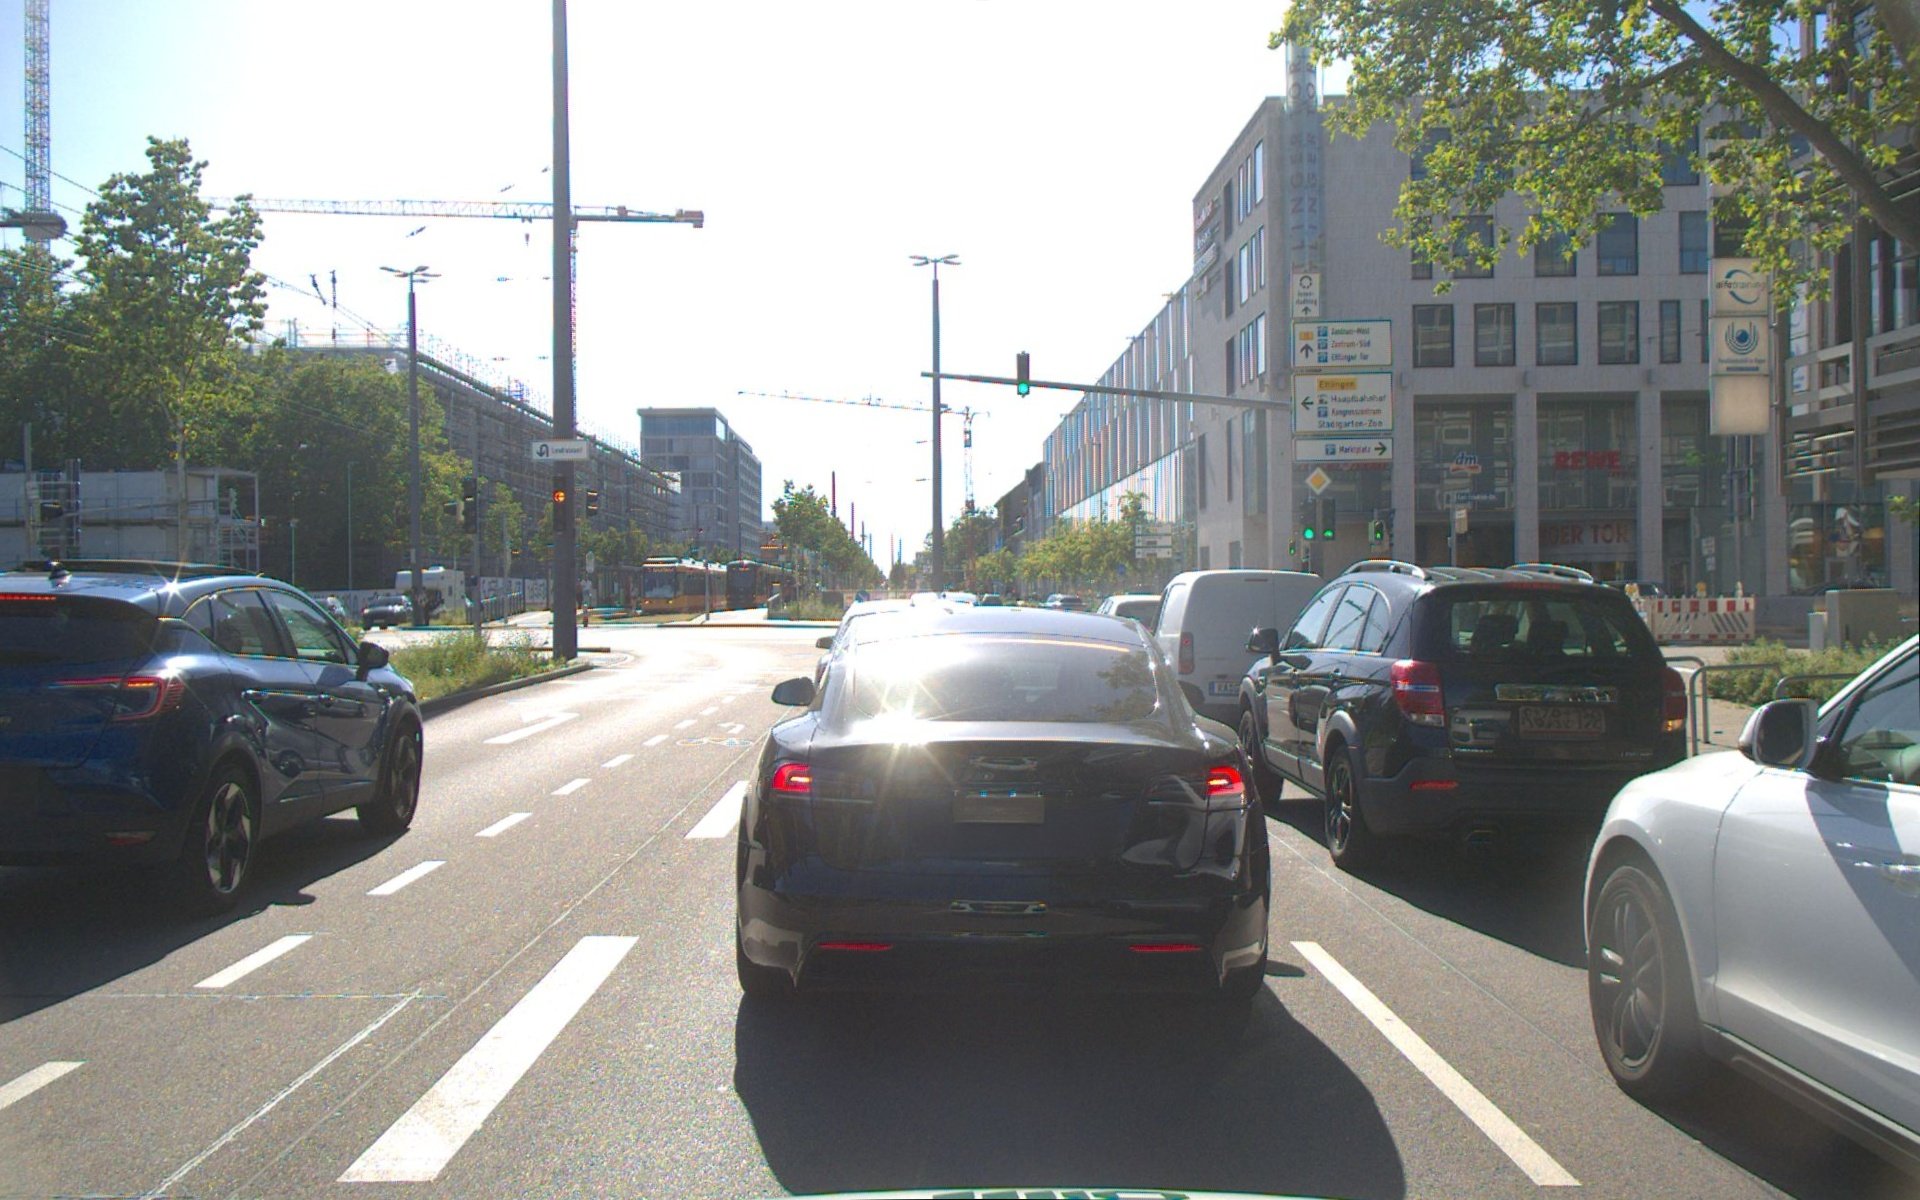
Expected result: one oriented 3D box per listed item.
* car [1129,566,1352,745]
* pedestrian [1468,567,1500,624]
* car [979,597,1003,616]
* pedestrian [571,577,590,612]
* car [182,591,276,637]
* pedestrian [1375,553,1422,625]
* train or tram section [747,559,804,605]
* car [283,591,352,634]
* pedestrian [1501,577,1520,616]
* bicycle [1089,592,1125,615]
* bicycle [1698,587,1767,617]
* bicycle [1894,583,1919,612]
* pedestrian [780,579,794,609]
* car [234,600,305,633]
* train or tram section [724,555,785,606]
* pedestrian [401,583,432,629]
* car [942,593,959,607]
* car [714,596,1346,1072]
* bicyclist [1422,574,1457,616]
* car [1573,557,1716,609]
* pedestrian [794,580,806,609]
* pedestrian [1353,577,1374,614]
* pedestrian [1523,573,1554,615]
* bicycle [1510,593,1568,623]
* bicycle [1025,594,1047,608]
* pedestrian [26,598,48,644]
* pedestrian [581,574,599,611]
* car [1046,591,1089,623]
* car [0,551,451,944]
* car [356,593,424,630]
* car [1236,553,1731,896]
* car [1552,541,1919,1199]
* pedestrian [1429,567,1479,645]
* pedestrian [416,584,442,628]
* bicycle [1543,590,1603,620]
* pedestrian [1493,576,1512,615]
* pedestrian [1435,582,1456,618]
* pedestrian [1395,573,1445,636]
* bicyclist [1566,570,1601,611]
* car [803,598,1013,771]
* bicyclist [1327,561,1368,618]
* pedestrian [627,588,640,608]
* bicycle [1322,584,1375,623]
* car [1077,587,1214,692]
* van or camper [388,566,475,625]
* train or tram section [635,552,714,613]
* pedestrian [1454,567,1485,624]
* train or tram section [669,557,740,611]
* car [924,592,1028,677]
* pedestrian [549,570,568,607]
[{"bbox_3d":[2.984,0.523,18.400,1.748,1.764,4.163,0,1,0],"label":"car"},{"bbox_3d":[15.364,-0.125,48.499,0.648,1.640,0.526,-3,0,-10],"label":"pedestrian"},{"bbox_3d":[2.607,0.540,140.086,1.895,1.569,3.999,0,1,-1],"label":"car"},{"bbox_3d":[-20.192,-0.291,88.033,0.784,1.855,0.975,-1,0,-4],"label":"pedestrian"},{"bbox_3d":[-28.661,0.535,64.965,1.788,1.719,4.092,-1,1,1],"label":"car"},{"bbox_3d":[12.659,-0.332,47.753,0.930,2.049,1.076,0,0,-12],"label":"pedestrian"},{"bbox_3d":[-14.935,-1.415,135.571,2.812,3.337,22.136,1,0,-2],"label":"train or tram section"},{"bbox_3d":[-31.357,0.590,80.823,1.832,1.989,3.999,-1,1,-1],"label":"car"},{"bbox_3d":[25.526,-0.169,76.720,0.551,1.793,0.641,-2,1,-38],"label":"pedestrian"},{"bbox_3d":[8.639,0.203,97.141,2.041,1.226,0.951,-2,0,5],"label":"bicycle"},{"bbox_3d":[29.612,0.055,63.486,1.044,1.113,3.498,-1,0,1],"label":"bicycle"},{"bbox_3d":[37.144,-0.098,63.141,1.044,1.113,3.498,-1,0,1],"label":"bicycle"},{"bbox_3d":[-9.639,-0.318,92.170,0.726,1.657,0.861,0,0,-1],"label":"pedestrian"},{"bbox_3d":[-36.098,0.825,86.603,1.952,1.629,4.000,-1,0,1],"label":"car"},{"bbox_3d":[-14.392,-1.331,116.930,2.812,3.337,15.180,1,0,-2],"label":"train or tram section"},{"bbox_3d":[-22.287,0.238,67.809,0.785,1.855,0.880,-1,0,31],"label":"pedestrian"},{"bbox_3d":[-1.108,0.003,190.686,1.895,1.569,3.999,0,1,-1],"label":"car"},{"bbox_3d":[0.205,0.720,7.340,1.958,1.459,4.412,0,0,0],"label":"car"},{"bbox_3d":[17.497,-0.200,60.382,1.000,1.502,1.072,-1,0,2],"label":"bicyclist"},{"bbox_3d":[23.269,-0.567,56.325,4.099,1.641,1.861,-1,-1,1],"label":"car"},{"bbox_3d":[-9.983,-0.348,103.173,0.689,1.806,0.958,1,1,-5],"label":"pedestrian"},{"bbox_3d":[17.896,-0.209,73.377,0.732,1.636,0.556,-1,1,-3],"label":"pedestrian"},{"bbox_3d":[23.928,-0.245,68.424,0.957,1.713,0.860,-1,0,-4],"label":"pedestrian"},{"bbox_3d":[22.251,0.299,63.626,1.044,1.113,3.497,-1,0,0],"label":"bicycle"},{"bbox_3d":[6.766,0.091,147.365,1.848,1.171,0.669,-2,0,-12],"label":"bicycle"},{"bbox_3d":[-37.545,0.833,67.263,0.694,1.855,0.587,-1,0,-39],"label":"pedestrian"},{"bbox_3d":[-19.111,-0.397,85.460,0.784,1.855,0.975,-1,0,-4],"label":"pedestrian"},{"bbox_3d":[5.474,0.357,84.814,1.895,1.569,3.999,0,1,-1],"label":"car"},{"bbox_3d":[-4.200,0.592,8.880,1.734,1.616,4.087,1,0,-2],"label":"car"},{"bbox_3d":[-27.286,0.526,79.334,1.907,1.737,4.365,-1,0,-3],"label":"car"},{"bbox_3d":[3.026,0.606,10.587,1.748,1.729,4.412,0,1,0],"label":"car"},{"bbox_3d":[2.985,0.688,3.618,1.782,1.641,4.412,0,1,0],"label":"car"},{"bbox_3d":[13.180,0.147,44.159,0.929,2.049,1.078,0,0,-8],"label":"pedestrian"},{"bbox_3d":[-22.366,0.250,69.675,0.784,1.855,0.975,-1,0,-4],"label":"pedestrian"},{"bbox_3d":[23.513,0.176,63.535,1.044,1.113,3.497,-1,0,0],"label":"bicycle"},{"bbox_3d":[25.004,-0.217,76.270,0.551,1.793,0.641,-2,1,-38],"label":"pedestrian"},{"bbox_3d":[22.397,-0.008,76.355,0.551,1.636,0.740,-2,1,-38],"label":"pedestrian"},{"bbox_3d":[13.737,0.130,49.452,0.947,1.833,1.522,-3,0,-2],"label":"pedestrian"},{"bbox_3d":[22.845,-0.347,60.604,0.913,1.458,1.041,-1,0,2],"label":"bicyclist"},{"bbox_3d":[-0.447,0.679,15.337,1.681,1.343,3.999,0,1,-1],"label":"car"},{"bbox_3d":[10.285,-0.285,43.923,0.863,1.502,0.883,-1,0,-2],"label":"bicyclist"},{"bbox_3d":[-20.444,-0.130,103.567,0.658,1.248,0.505,1,-1,-4],"label":"pedestrian"},{"bbox_3d":[10.294,0.087,43.901,0.863,1.002,2.050,-1,1,-1],"label":"bicycle"},{"bbox_3d":[2.953,0.583,27.048,1.748,1.573,4.038,0,1,0],"label":"car"},{"bbox_3d":[-28.035,-0.249,87.969,2.553,2.988,7.338,-1,0,-3],"label":"van or camper"},{"bbox_3d":[-17.045,-0.995,99.620,2.812,3.367,13.068,1,0,-2],"label":"train or tram section"},{"bbox_3d":[15.133,-0.136,49.110,0.648,1.640,0.526,-3,0,-10],"label":"pedestrian"},{"bbox_3d":[-17.445,-1.009,114.140,2.790,3.379,15.960,1,0,-2],"label":"train or tram section"},{"bbox_3d":[0.232,0.545,28.780,1.681,1.343,3.999,0,1,-1],"label":"car"},{"bbox_3d":[-20.823,-0.601,85.736,0.784,1.855,0.975,-1,0,-4],"label":"pedestrian"}]
